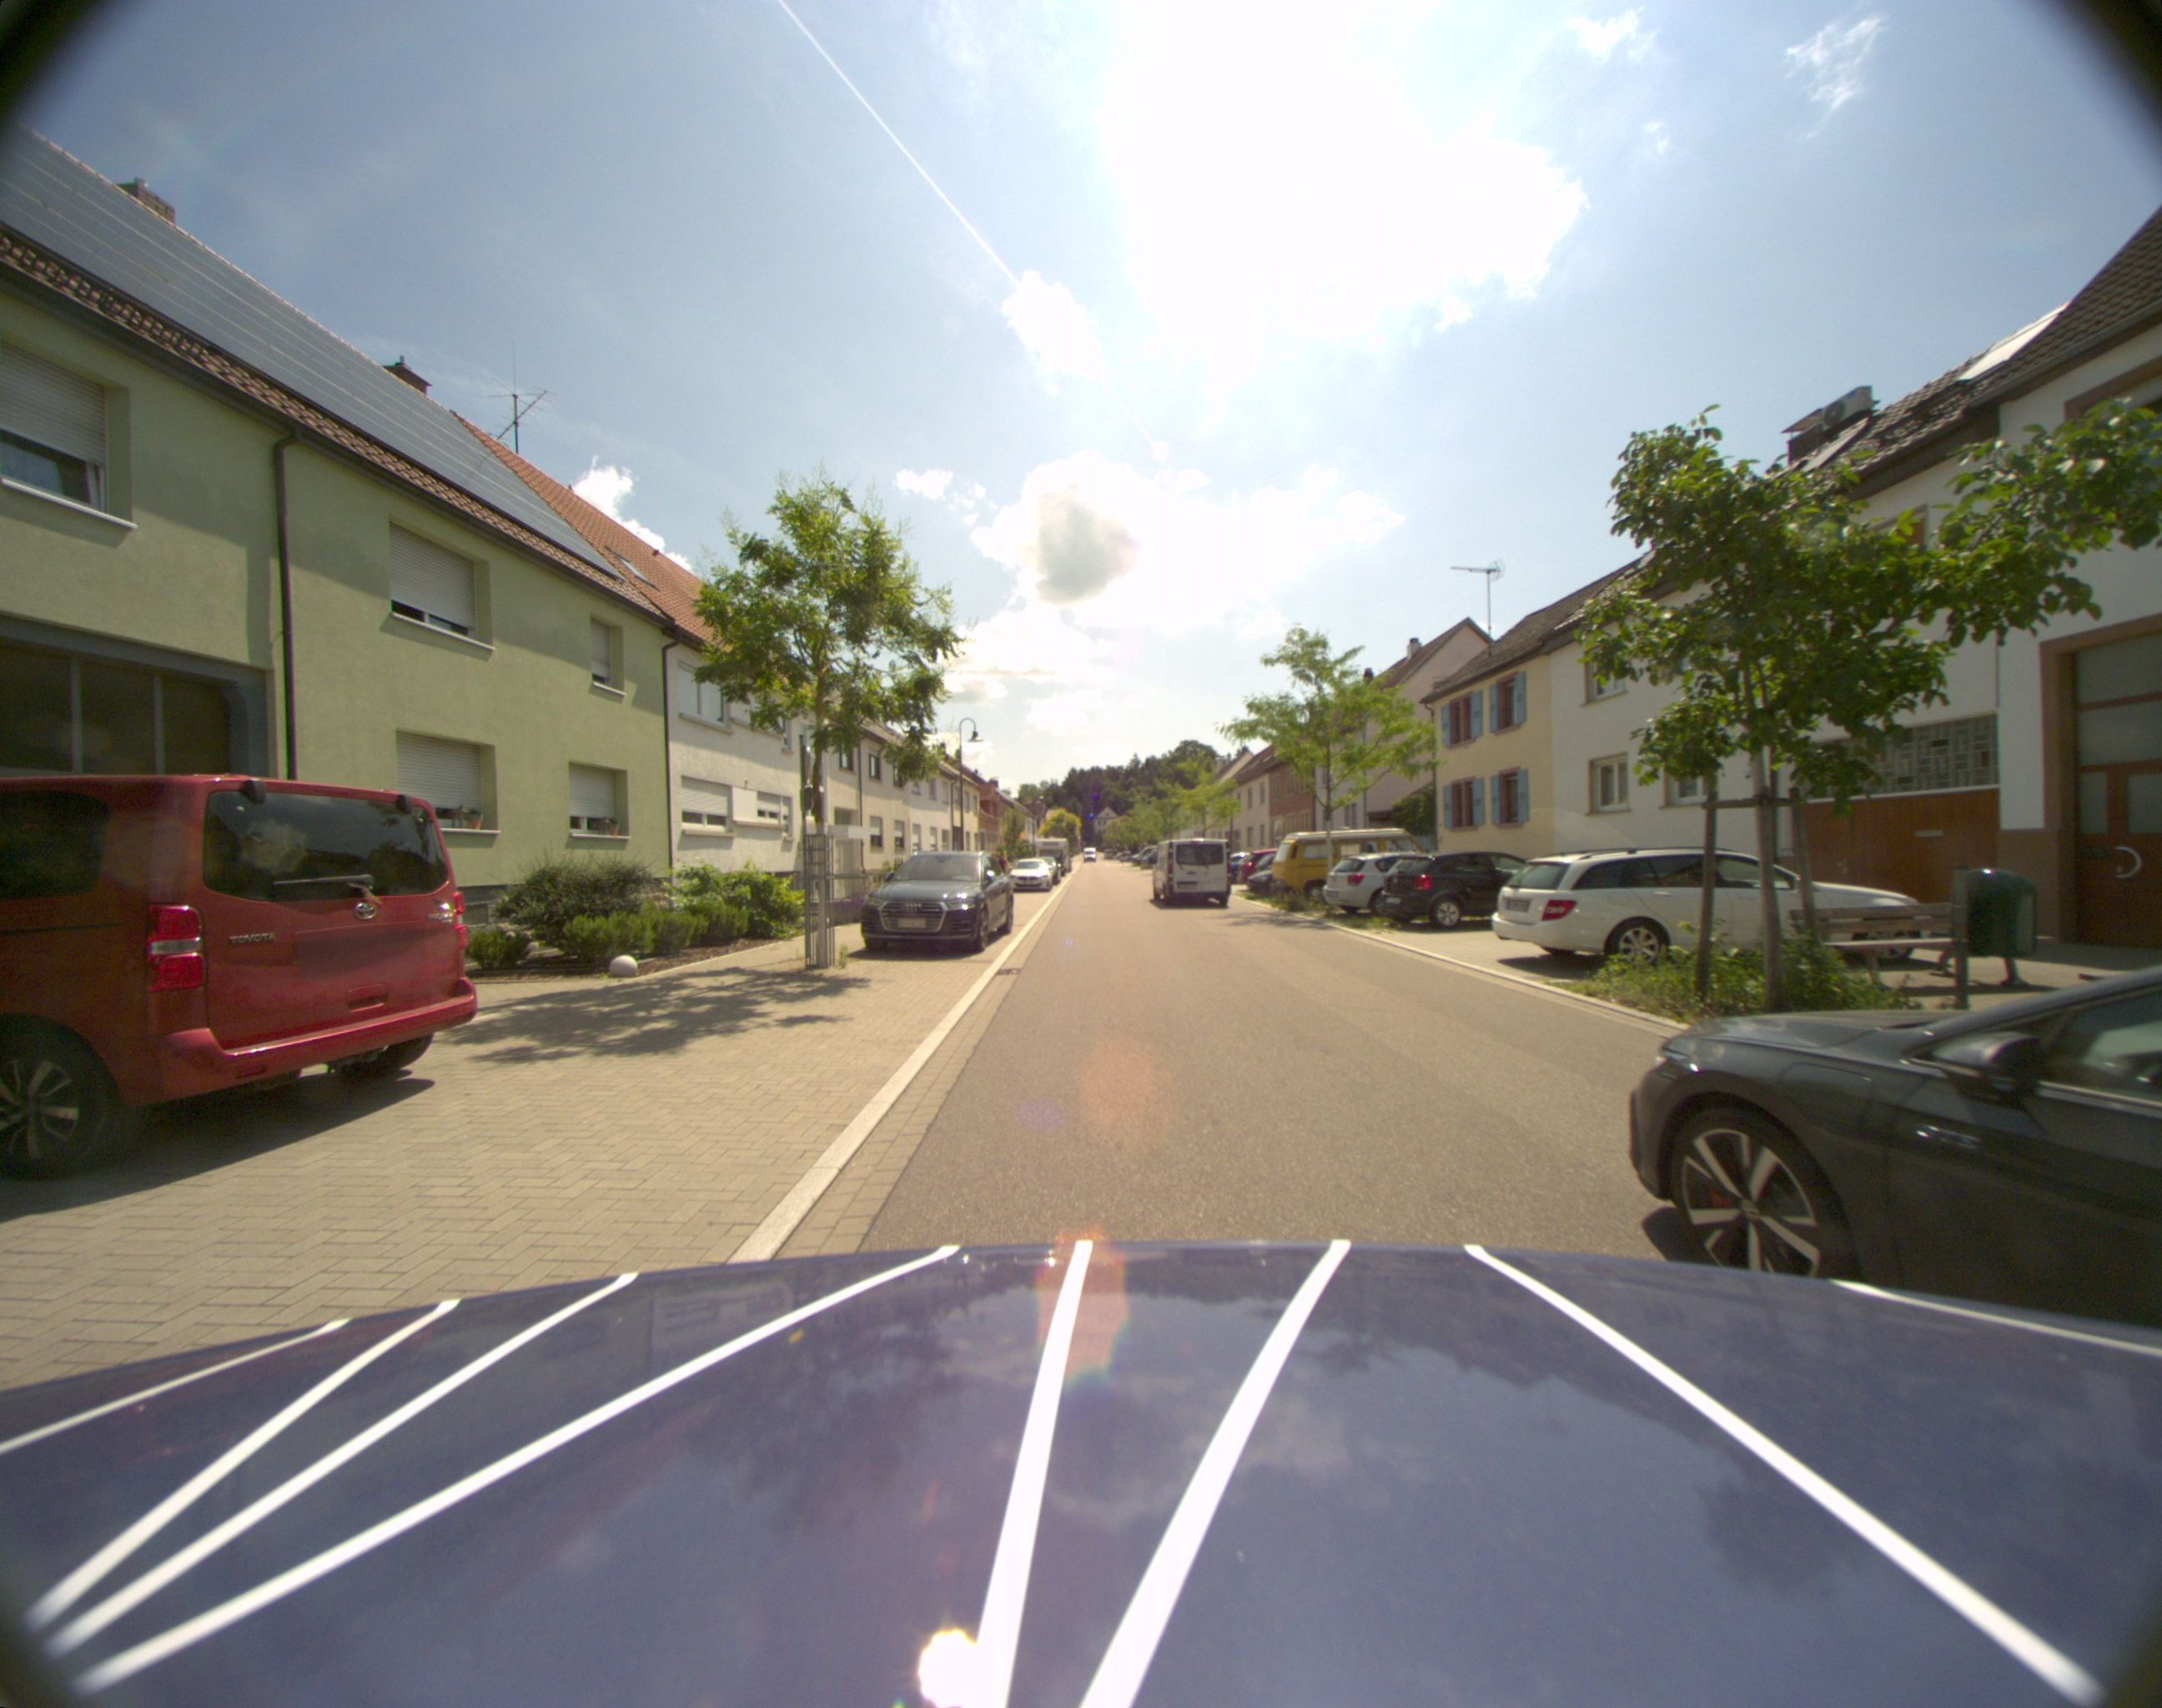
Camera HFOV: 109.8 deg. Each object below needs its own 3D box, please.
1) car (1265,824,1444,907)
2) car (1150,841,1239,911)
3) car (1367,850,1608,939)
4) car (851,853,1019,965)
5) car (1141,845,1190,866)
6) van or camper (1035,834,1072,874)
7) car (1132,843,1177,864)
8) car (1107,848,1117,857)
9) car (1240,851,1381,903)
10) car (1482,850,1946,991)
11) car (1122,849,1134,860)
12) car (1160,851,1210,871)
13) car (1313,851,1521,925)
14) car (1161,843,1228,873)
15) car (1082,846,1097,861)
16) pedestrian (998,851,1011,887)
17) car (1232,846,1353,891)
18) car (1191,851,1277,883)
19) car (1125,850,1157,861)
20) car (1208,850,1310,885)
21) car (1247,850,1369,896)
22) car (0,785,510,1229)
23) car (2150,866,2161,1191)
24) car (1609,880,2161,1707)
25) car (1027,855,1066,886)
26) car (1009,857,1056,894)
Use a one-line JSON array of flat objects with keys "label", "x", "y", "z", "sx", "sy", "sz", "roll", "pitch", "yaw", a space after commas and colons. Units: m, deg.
[{"label": "car", "x": 7.911, "y": 0.318, "z": 22.315, "sx": 4.519, "sy": 2.164, "sz": 1.925, "roll": -2, "pitch": 1, "yaw": 1}, {"label": "car", "x": 3.383, "y": 0.572, "z": 23.656, "sx": 2.028, "sy": 1.939, "sz": 4.897, "roll": -1, "pitch": 1, "yaw": 0}, {"label": "car", "x": 7.841, "y": 0.729, "z": 14.830, "sx": 3.891, "sy": 1.459, "sz": 1.658, "roll": -2, "pitch": 1, "yaw": -7}, {"label": "car", "x": -2.362, "y": 0.825, "z": 13.508, "sx": 1.868, "sy": 1.626, "sz": 4.447, "roll": 1, "pitch": 0, "yaw": 3}, {"label": "car", "x": 8.555, "y": 0.174, "z": 76.943, "sx": 4.688, "sy": 1.896, "sz": 2.000, "roll": -3, "pitch": 1, "yaw": 1}, {"label": "van or camper", "x": -1.988, "y": 0.021, "z": 56.404, "sx": 2.479, "sy": 2.793, "sz": 5.790, "roll": 0, "pitch": 0, "yaw": 1}, {"label": "car", "x": 9.030, "y": -0.039, "z": 93.274, "sx": 5.180, "sy": 2.275, "sz": 2.157, "roll": -3, "pitch": 1, "yaw": -1}, {"label": "car", "x": 7.049, "y": -0.275, "z": 171.318, "sx": 1.998, "sy": 1.968, "sz": 3.999, "roll": -1, "pitch": 1, "yaw": 0}, {"label": "car", "x": 7.367, "y": 0.721, "z": 24.698, "sx": 4.020, "sy": 1.451, "sz": 1.755, "roll": -2, "pitch": 1, "yaw": 1}, {"label": "car", "x": 7.702, "y": 0.770, "z": 9.599, "sx": 4.305, "sy": 1.459, "sz": 1.774, "roll": -2, "pitch": 1, "yaw": 3}, {"label": "car", "x": 7.778, "y": 0.056, "z": 126.980, "sx": 1.844, "sy": 1.737, "sz": 4.687, "roll": -3, "pitch": -1, "yaw": 2}, {"label": "car", "x": 8.593, "y": 0.564, "z": 62.934, "sx": 3.925, "sy": 1.480, "sz": 1.773, "roll": -2, "pitch": 1, "yaw": 3}, {"label": "car", "x": 7.715, "y": 0.735, "z": 17.631, "sx": 4.084, "sy": 1.459, "sz": 1.752, "roll": -2, "pitch": 1, "yaw": -7}, {"label": "car", "x": 8.288, "y": 0.249, "z": 55.750, "sx": 4.624, "sy": 1.985, "sz": 1.953, "roll": -2, "pitch": 1, "yaw": 3}, {"label": "car", "x": 1.407, "y": -0.125, "z": 128.786, "sx": 2.489, "sy": 2.306, "sz": 5.599, "roll": -3, "pitch": 1, "yaw": 0}, {"label": "pedestrian", "x": -3.762, "y": 0.719, "z": 37.429, "sx": 0.558, "sy": 1.739, "sz": 0.673, "roll": -1, "pitch": 1, "yaw": 2}, {"label": "car", "x": 8.318, "y": 0.555, "z": 30.189, "sx": 4.264, "sy": 1.602, "sz": 1.842, "roll": -2, "pitch": 1, "yaw": 0}, {"label": "car", "x": 7.905, "y": 0.653, "z": 39.450, "sx": 4.064, "sy": 1.469, "sz": 1.775, "roll": -2, "pitch": 1, "yaw": -2}, {"label": "car", "x": 9.067, "y": 0.240, "z": 115.071, "sx": 4.598, "sy": 1.508, "sz": 1.901, "roll": -2, "pitch": 1, "yaw": 1}, {"label": "car", "x": 8.517, "y": 0.638, "z": 36.516, "sx": 4.415, "sy": 1.469, "sz": 1.775, "roll": -2, "pitch": 1, "yaw": -3}, {"label": "car", "x": 8.120, "y": 0.653, "z": 27.380, "sx": 3.801, "sy": 1.451, "sz": 1.755, "roll": -2, "pitch": 1, "yaw": -2}, {"label": "car", "x": -6.333, "y": 0.728, "z": 4.246, "sx": 4.630, "sy": 1.883, "sz": 2.020, "roll": -2, "pitch": 1, "yaw": 0}, {"label": "car", "x": 7.281, "y": 0.749, "z": 2.866, "sx": 4.194, "sy": 1.560, "sz": 1.773, "roll": -3, "pitch": 1, "yaw": -3}, {"label": "car", "x": 2.895, "y": 0.873, "z": 0.858, "sx": 1.767, "sy": 1.514, "sz": 4.048, "roll": 0, "pitch": 0, "yaw": 0}, {"label": "car", "x": -1.822, "y": 0.836, "z": 41.160, "sx": 1.771, "sy": 1.521, "sz": 4.007, "roll": -1, "pitch": 0, "yaw": 1}, {"label": "car", "x": -2.087, "y": 0.891, "z": 34.012, "sx": 1.837, "sy": 1.457, "sz": 4.519, "roll": -1, "pitch": 0, "yaw": -1}]
